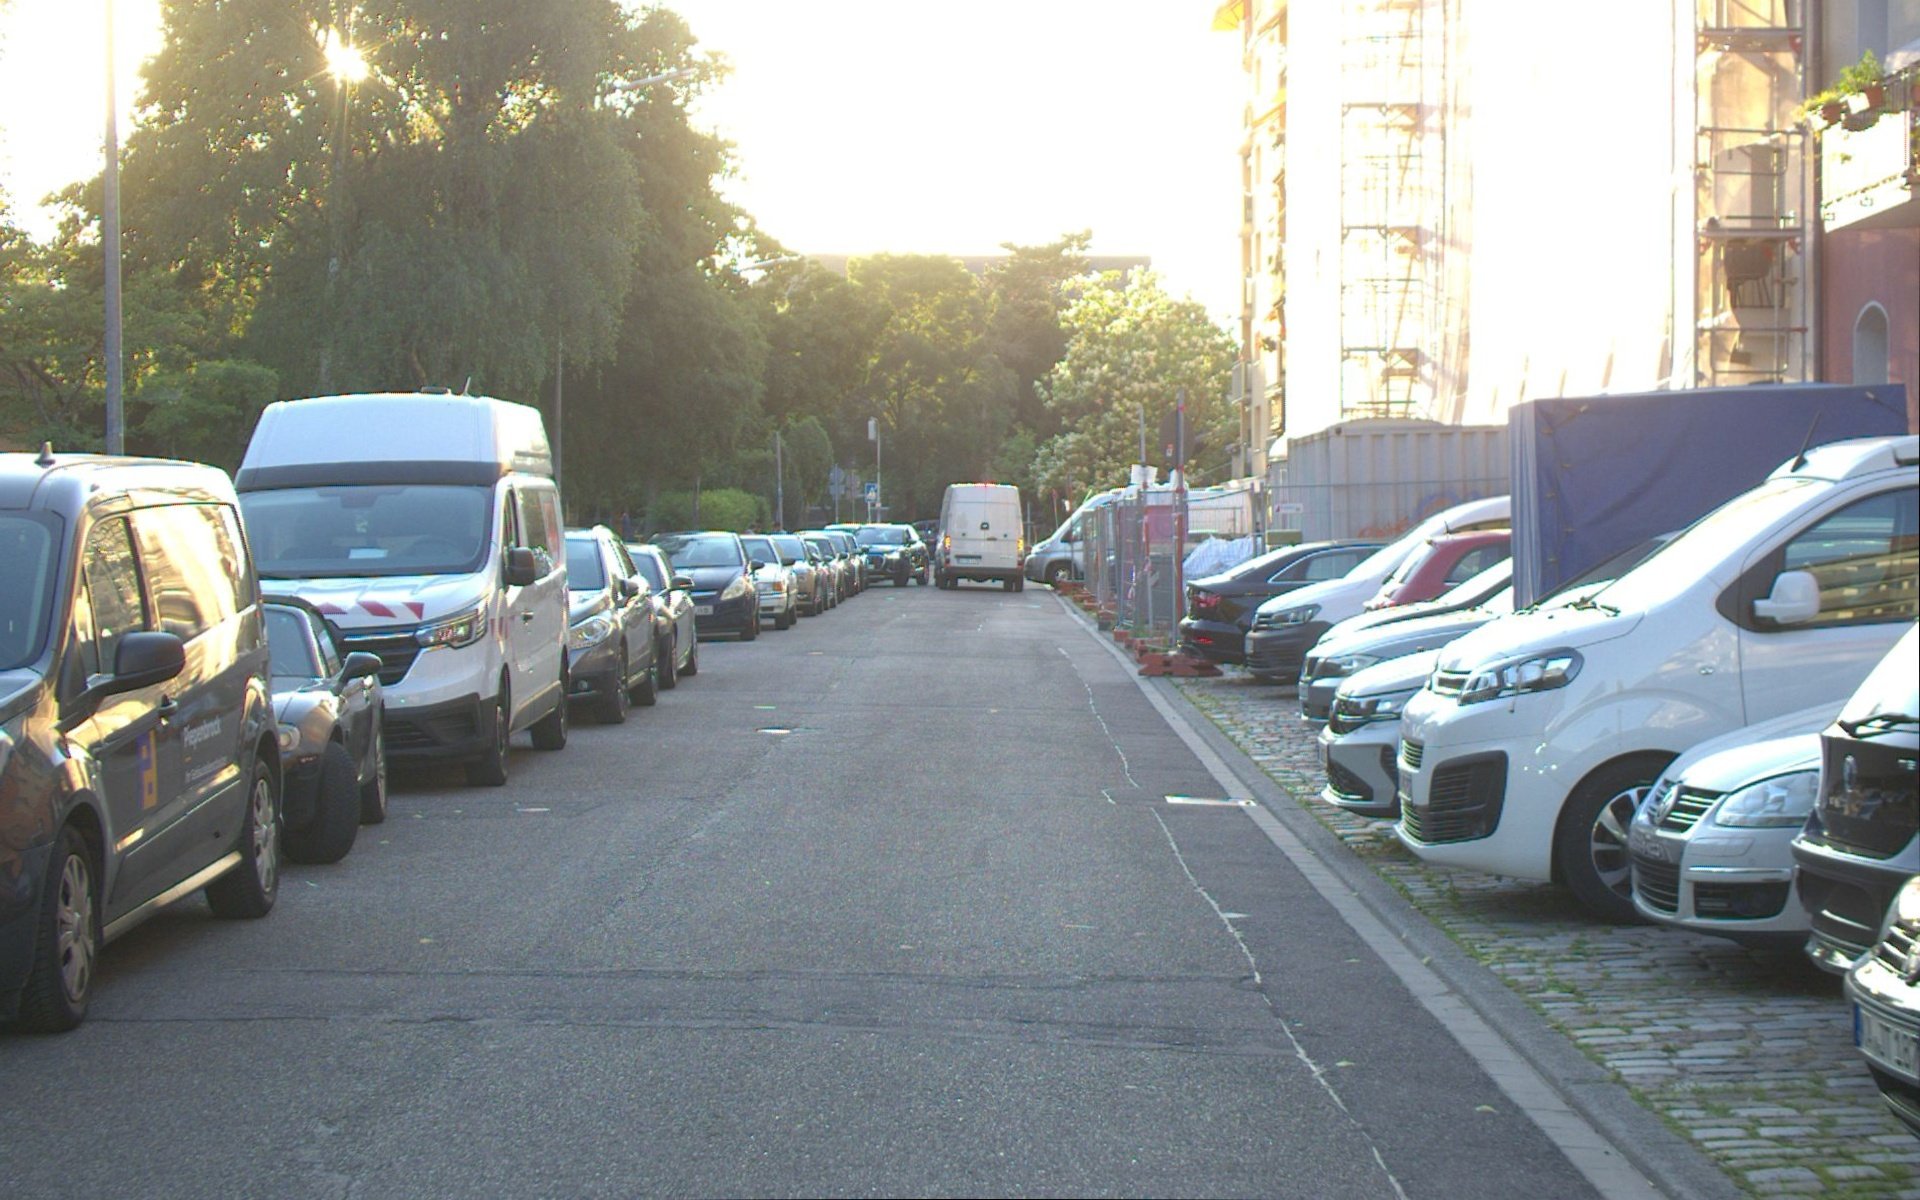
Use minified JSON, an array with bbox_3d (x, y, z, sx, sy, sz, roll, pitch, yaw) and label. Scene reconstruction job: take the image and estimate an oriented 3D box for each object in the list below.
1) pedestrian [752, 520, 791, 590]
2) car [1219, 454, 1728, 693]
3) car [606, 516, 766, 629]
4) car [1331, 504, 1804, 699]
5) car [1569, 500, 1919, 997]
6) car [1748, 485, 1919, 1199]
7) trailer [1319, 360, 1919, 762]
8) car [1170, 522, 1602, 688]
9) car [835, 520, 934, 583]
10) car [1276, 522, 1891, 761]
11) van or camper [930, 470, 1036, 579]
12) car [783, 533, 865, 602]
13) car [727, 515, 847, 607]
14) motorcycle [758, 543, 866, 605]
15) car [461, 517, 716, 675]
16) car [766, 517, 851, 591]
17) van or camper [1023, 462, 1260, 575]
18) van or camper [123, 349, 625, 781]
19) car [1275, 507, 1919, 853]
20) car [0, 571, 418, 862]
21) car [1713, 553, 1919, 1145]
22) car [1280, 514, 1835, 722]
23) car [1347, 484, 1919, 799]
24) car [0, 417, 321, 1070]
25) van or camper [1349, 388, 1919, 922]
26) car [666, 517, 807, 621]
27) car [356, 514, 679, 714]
[{"bbox_3d":[-4.960,-1.181,90.472,0.938,1.824,0.787,1,1,-1],"label":"pedestrian"},{"bbox_3d":[4.706,-0.279,31.800,4.265,1.973,1.822,-3,2,-7],"label":"car"},{"bbox_3d":[-3.665,-0.395,46.606,1.993,1.448,4.001,1,1,-2],"label":"car"},{"bbox_3d":[5.134,-0.005,29.363,3.692,1.605,1.745,0,1,-1],"label":"car"},{"bbox_3d":[4.347,0.465,12.186,3.987,1.612,2.000,0,1,-1],"label":"car"},{"bbox_3d":[4.023,0.548,7.581,4.101,1.579,1.855,0,1,-2],"label":"car"},{"bbox_3d":[4.246,-0.266,21.970,3.566,2.329,1.941,-2,1,-2],"label":"trailer"},{"bbox_3d":[4.216,0.029,34.519,4.153,1.610,1.872,0,1,2],"label":"car"},{"bbox_3d":[-1.902,-1.253,88.082,1.805,1.564,4.564,0,1,8],"label":"car"},{"bbox_3d":[4.369,0.269,24.524,3.986,1.632,1.903,0,1,-2],"label":"car"},{"bbox_3d":[0.586,-1.868,85.707,2.454,2.538,6.083,2,1,1],"label":"van or camper"},{"bbox_3d":[-3.057,-0.757,78.160,1.715,1.491,4.361,-1,1,-1],"label":"car"},{"bbox_3d":[-3.012,-0.705,60.703,1.860,1.532,4.759,-1,1,0],"label":"car"},{"bbox_3d":[-3.229,-0.579,74.971,2.165,1.299,0.879,1,1,15],"label":"motorcycle"},{"bbox_3d":[-3.613,-0.080,34.140,1.993,1.448,4.288,1,1,1],"label":"car"},{"bbox_3d":[-3.136,-0.973,71.748,1.601,1.426,3.804,-2,1,-1],"label":"car"},{"bbox_3d":[4.658,-2.091,88.881,5.928,2.760,2.110,1,1,0],"label":"van or camper"},{"bbox_3d":[-3.631,-0.272,22.589,1.994,2.448,6.083,0,1,3],"label":"van or camper"},{"bbox_3d":[3.684,0.369,17.269,3.987,1.634,2.000,0,1,-1],"label":"car"},{"bbox_3d":[-3.813,0.487,16.793,1.993,1.185,4.037,0,1,-5],"label":"car"},{"bbox_3d":[4.412,0.640,9.972,3.987,1.525,2.000,0,1,-1],"label":"car"},{"bbox_3d":[4.594,0.121,26.823,3.963,1.566,1.789,0,1,-2],"label":"car"},{"bbox_3d":[4.363,0.227,19.897,3.987,1.722,2.000,0,0,-1],"label":"car"},{"bbox_3d":[-3.601,0.347,11.831,1.910,1.782,4.950,-1,1,-1],"label":"car"},{"bbox_3d":[4.186,0.198,14.525,4.833,2.089,2.041,0,1,0],"label":"van or camper"},{"bbox_3d":[-3.336,-0.493,52.133,1.782,1.440,4.749,-2,1,0],"label":"car"},{"bbox_3d":[-3.588,0.059,28.746,1.993,1.514,4.789,1,1,1],"label":"car"}]
